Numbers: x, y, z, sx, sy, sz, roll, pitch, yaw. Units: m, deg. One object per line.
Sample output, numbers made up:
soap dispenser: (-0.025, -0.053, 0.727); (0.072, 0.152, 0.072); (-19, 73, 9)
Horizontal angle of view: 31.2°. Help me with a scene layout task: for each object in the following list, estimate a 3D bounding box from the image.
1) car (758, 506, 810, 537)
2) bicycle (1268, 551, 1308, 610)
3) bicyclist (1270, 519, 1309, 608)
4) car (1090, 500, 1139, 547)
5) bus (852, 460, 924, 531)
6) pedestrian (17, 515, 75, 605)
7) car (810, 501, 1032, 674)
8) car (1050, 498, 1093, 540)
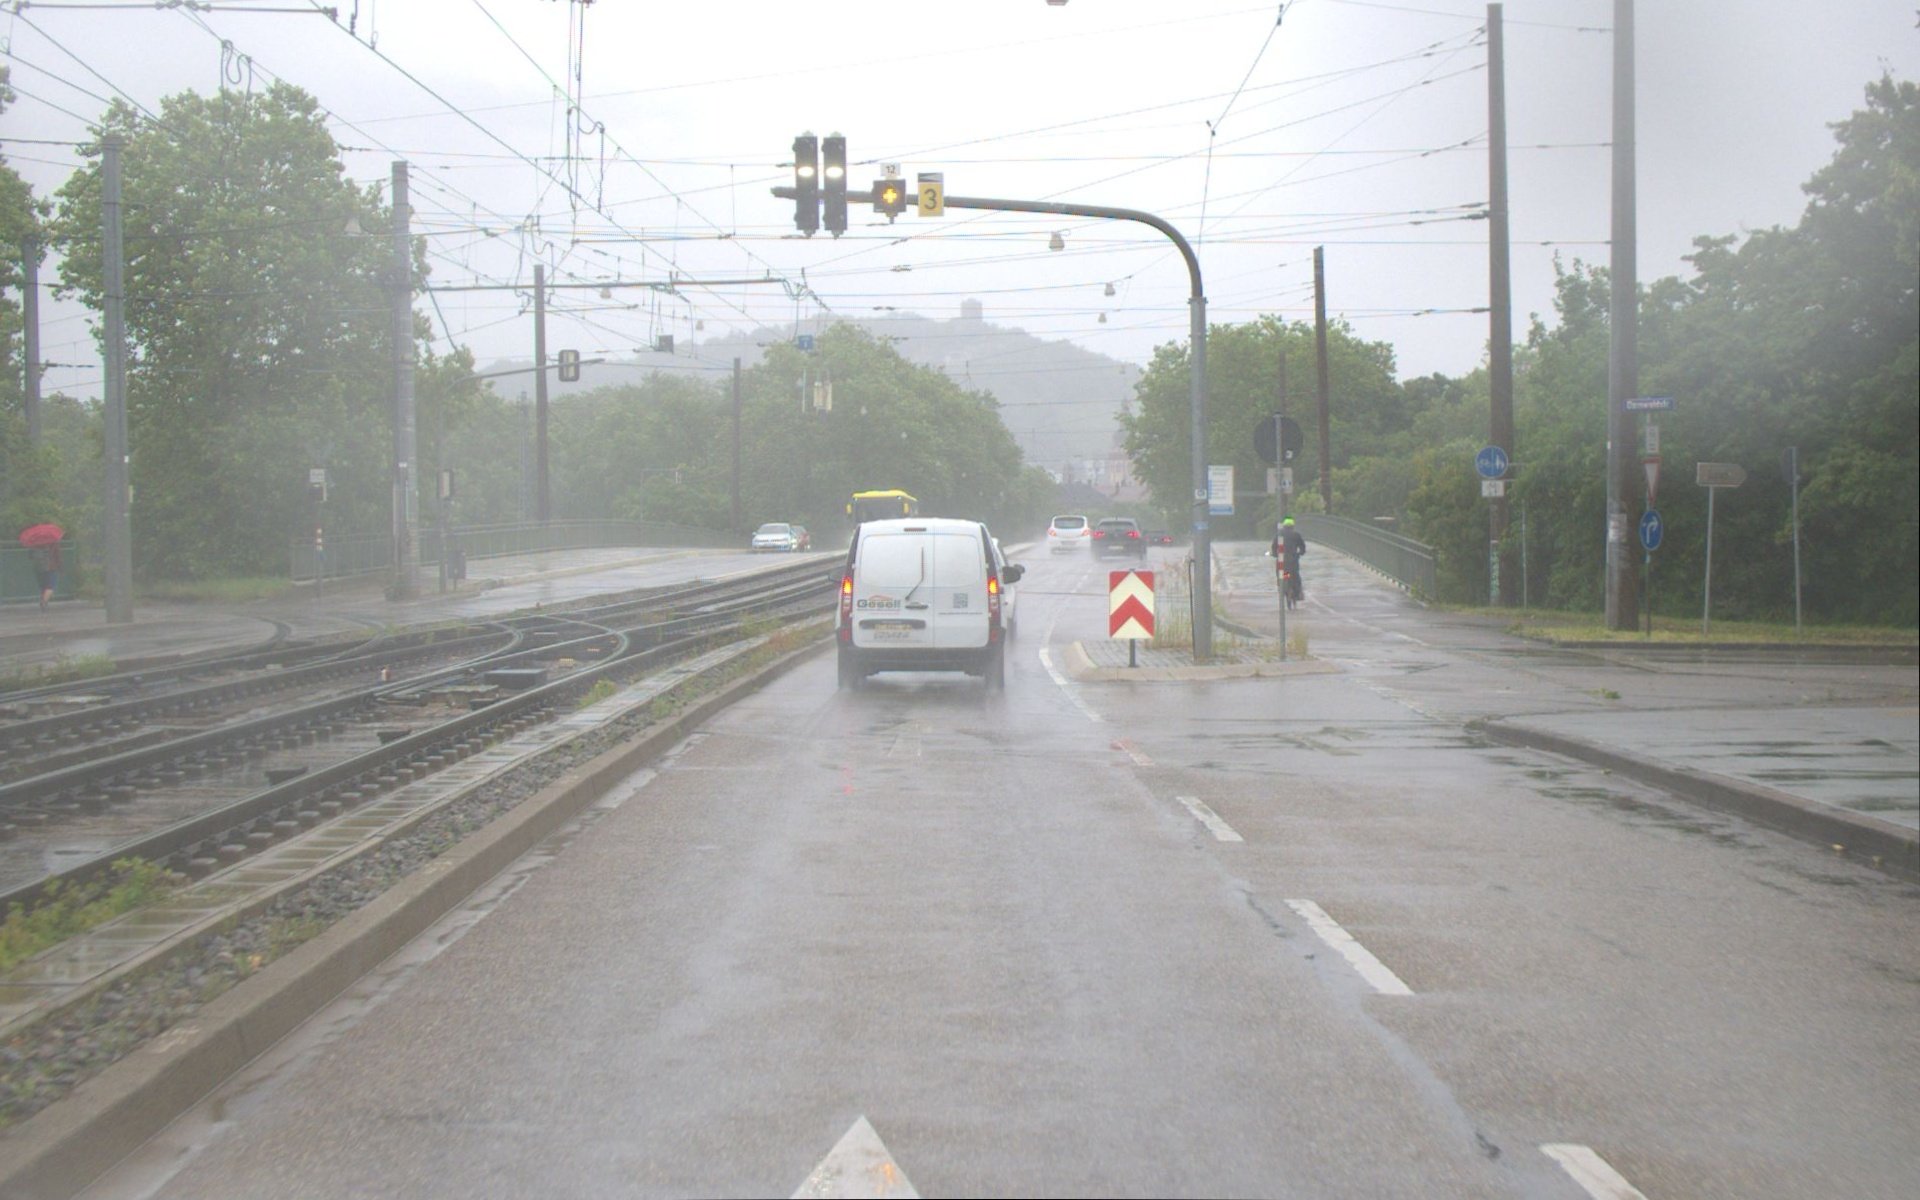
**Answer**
car: (-8.130, -3.633, 158.870); (1.934, 1.227, 4.100); (-2, 3, 3)
bicycle: (6.584, -0.398, 69.060); (0.723, 1.125, 2.167); (1, 1, 4)
bicyclist: (6.608, -0.729, 68.985); (0.725, 1.758, 0.949); (1, 0, 4)
car: (5.128, -2.547, 114.451); (1.451, 1.494, 2.982); (1, 1, -1)
bus: (-3.655, -5.434, 176.557); (2.708, 3.329, 10.993); (-2, 3, 3)
pedestrian: (-18.632, -0.821, 70.108); (0.864, 1.812, 1.043); (1, 1, 2)
car: (-0.358, -0.147, 36.905); (1.994, 1.720, 3.999); (1, 1, 5)
car: (4.130, -2.991, 127.741); (1.451, 1.494, 2.982); (1, 1, -1)
